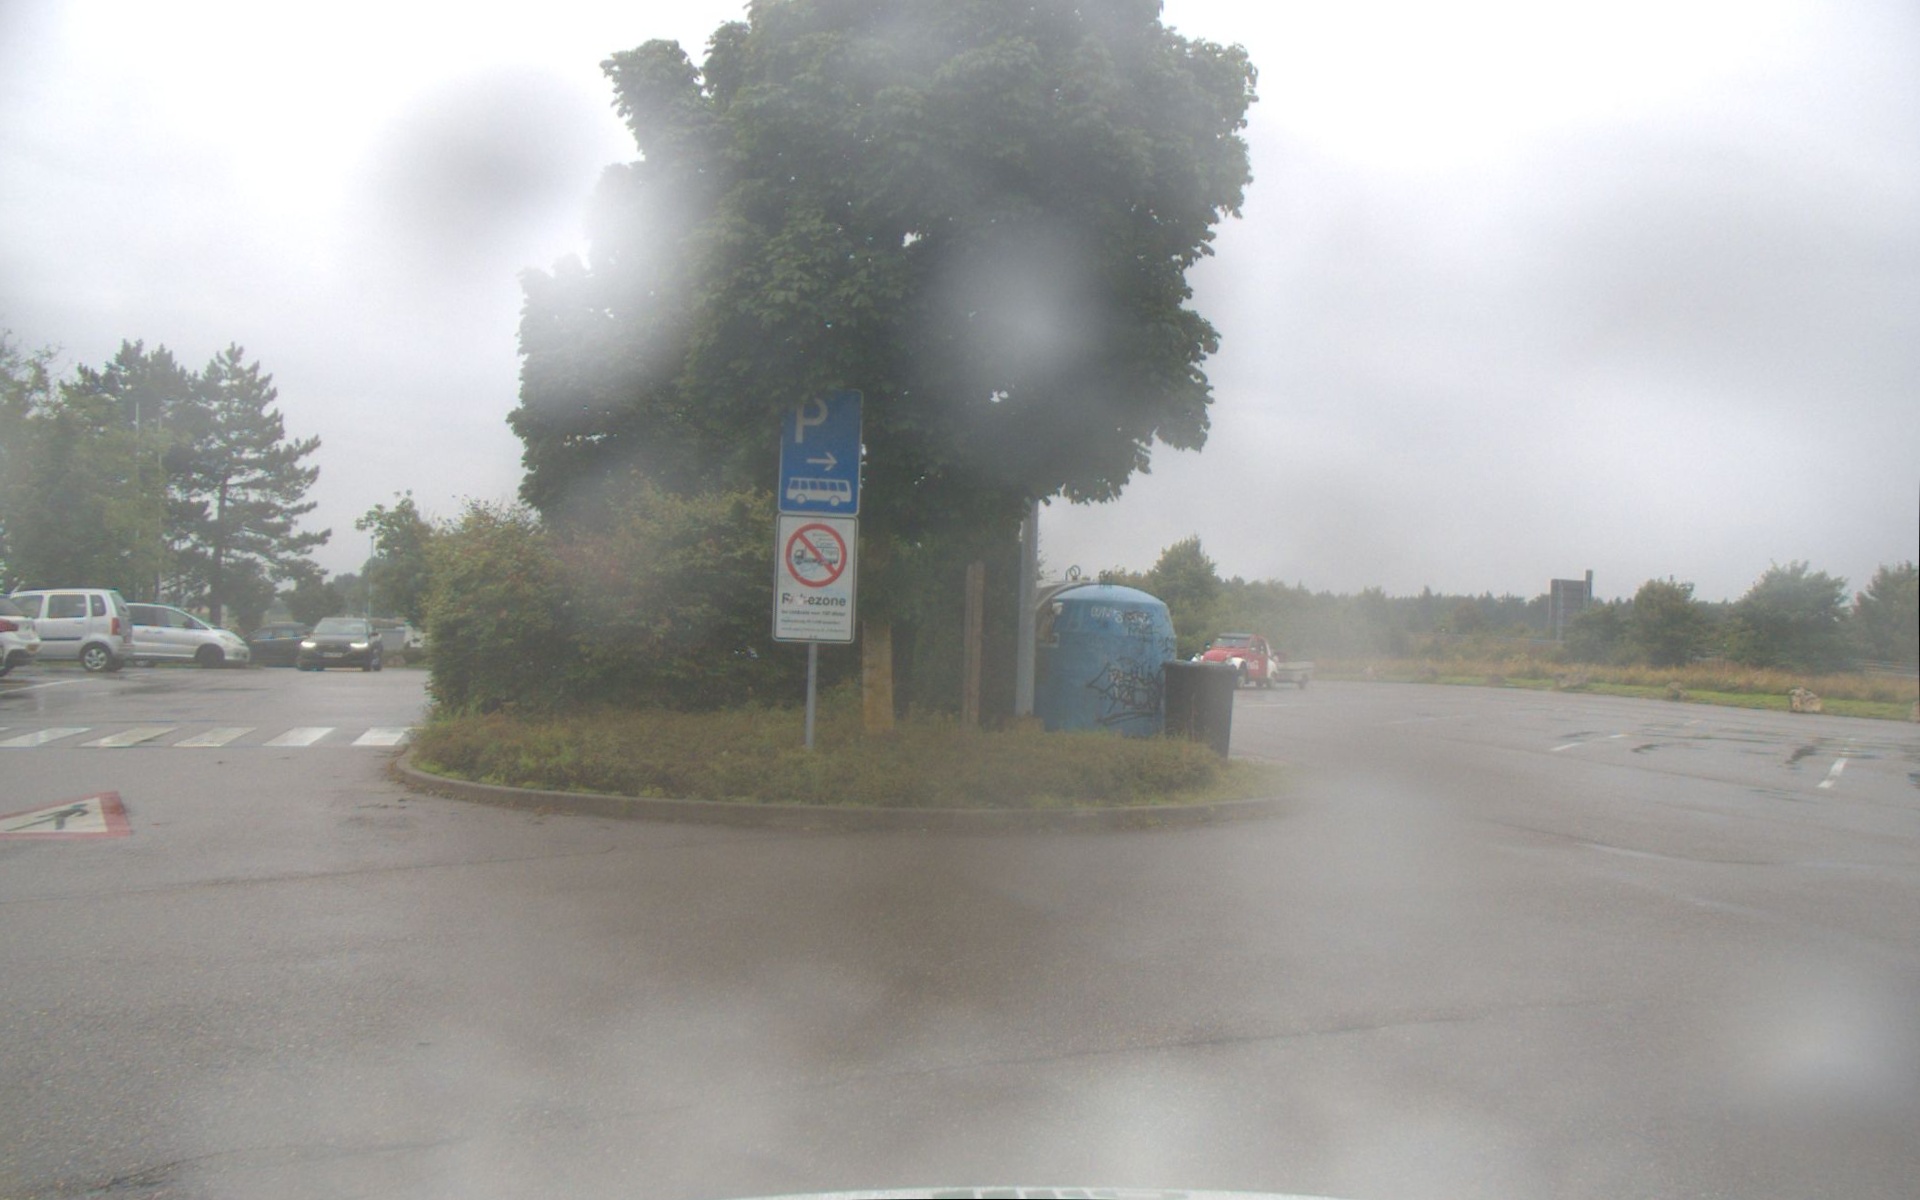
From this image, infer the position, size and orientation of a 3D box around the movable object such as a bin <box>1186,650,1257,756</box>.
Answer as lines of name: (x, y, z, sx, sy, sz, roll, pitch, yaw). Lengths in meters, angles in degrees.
movable object such as a bin: (2.483, 0.970, 15.702, 0.468, 0.965, 0.429, 3, -1, -38)

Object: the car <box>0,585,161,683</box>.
car: (-18.563, 0.702, 33.526, 3.945, 1.895, 1.842, 1, -3, -16)

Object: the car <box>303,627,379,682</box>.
car: (-16.838, 1.520, 45.130, 1.619, 1.394, 3.980, 2, -3, -17)

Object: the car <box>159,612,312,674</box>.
car: (-23.700, 1.421, 54.253, 4.284, 1.895, 1.842, 2, -2, -16)

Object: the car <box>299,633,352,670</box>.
car: (-25.143, 2.071, 65.624, 1.619, 1.394, 3.795, 2, -3, -17)

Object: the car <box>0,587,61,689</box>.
car: (-16.560, 0.533, 25.793, 4.114, 1.543, 1.737, 2, 0, -15)

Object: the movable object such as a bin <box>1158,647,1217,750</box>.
movable object such as a bin: (2.231, 0.959, 16.182, 0.396, 0.965, 0.450, 3, -1, 28)

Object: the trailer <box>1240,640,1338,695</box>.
trailer: (9.951, 2.024, 49.821, 1.664, 1.559, 3.991, 0, -2, 31)

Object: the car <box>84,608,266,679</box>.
car: (-21.894, 1.234, 46.316, 4.284, 1.895, 1.842, 1, -3, -16)

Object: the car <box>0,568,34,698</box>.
car: (-16.033, 0.416, 23.253, 4.855, 1.824, 1.991, 1, 0, -16)

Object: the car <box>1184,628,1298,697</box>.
car: (7.927, 1.759, 46.353, 1.789, 1.808, 3.990, 0, -2, 31)
